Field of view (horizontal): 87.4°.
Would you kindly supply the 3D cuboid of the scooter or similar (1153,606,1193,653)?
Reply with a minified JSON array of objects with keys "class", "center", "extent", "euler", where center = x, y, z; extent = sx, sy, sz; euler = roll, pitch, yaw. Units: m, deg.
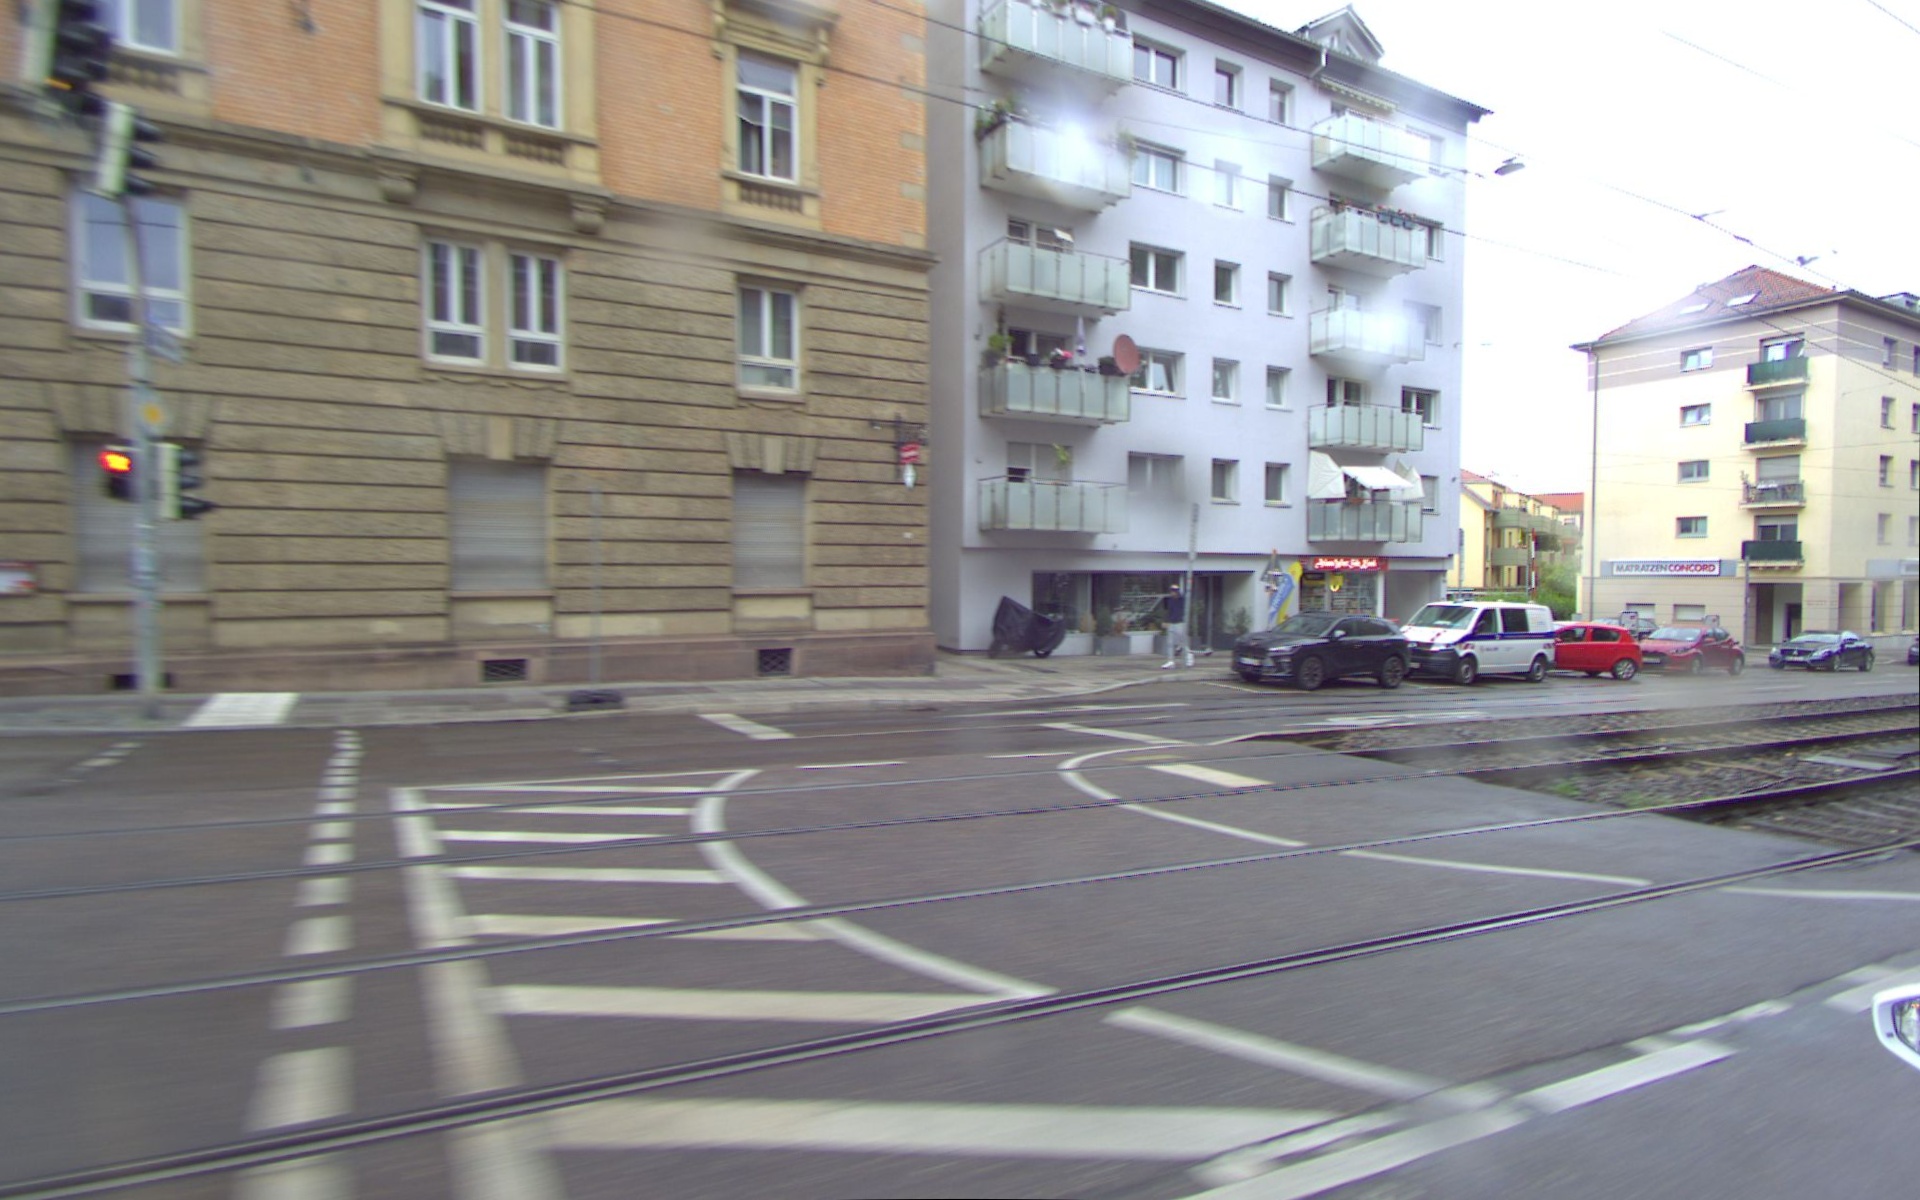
[{"class":"scooter or similar","center":[5.776,0.777,27.218],"extent":[0.314,1.226,1.080],"euler":[0,1,-40]}]

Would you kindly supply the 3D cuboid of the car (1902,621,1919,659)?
[{"class":"car","center":[41.230,1.676,41.935],"extent":[4.942,1.528,1.839],"euler":[1,0,-36]}]

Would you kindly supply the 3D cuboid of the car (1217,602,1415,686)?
[{"class":"car","center":[7.864,0.910,22.085],"extent":[4.313,1.673,1.724],"euler":[1,1,-31]}]

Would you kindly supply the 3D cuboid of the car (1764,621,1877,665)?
[{"class":"car","center":[30.063,1.472,35.070],"extent":[4.570,1.414,1.671],"euler":[1,0,-32]}]

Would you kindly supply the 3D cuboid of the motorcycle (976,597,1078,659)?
[{"class":"motorcycle","center":[1.623,0.661,24.183],"extent":[2.282,1.395,0.924],"euler":[0,3,-30]}]

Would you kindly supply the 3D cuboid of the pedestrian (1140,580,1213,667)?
[{"class":"pedestrian","center":[4.993,0.514,23.204],"extent":[1.167,1.955,1.163],"euler":[0,1,-37]}]

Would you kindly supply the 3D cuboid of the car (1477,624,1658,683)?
[{"class":"car","center":[16.795,1.452,27.923],"extent":[3.902,1.453,1.786],"euler":[1,1,4]}]

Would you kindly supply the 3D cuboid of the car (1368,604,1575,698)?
[{"class":"car","center":[12.904,1.171,25.265],"extent":[5.239,2.036,2.059],"euler":[0,3,-30]}]

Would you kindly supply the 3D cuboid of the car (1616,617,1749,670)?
[{"class":"car","center":[21.922,1.281,30.457],"extent":[4.021,1.471,1.647],"euler":[1,0,-27]}]
